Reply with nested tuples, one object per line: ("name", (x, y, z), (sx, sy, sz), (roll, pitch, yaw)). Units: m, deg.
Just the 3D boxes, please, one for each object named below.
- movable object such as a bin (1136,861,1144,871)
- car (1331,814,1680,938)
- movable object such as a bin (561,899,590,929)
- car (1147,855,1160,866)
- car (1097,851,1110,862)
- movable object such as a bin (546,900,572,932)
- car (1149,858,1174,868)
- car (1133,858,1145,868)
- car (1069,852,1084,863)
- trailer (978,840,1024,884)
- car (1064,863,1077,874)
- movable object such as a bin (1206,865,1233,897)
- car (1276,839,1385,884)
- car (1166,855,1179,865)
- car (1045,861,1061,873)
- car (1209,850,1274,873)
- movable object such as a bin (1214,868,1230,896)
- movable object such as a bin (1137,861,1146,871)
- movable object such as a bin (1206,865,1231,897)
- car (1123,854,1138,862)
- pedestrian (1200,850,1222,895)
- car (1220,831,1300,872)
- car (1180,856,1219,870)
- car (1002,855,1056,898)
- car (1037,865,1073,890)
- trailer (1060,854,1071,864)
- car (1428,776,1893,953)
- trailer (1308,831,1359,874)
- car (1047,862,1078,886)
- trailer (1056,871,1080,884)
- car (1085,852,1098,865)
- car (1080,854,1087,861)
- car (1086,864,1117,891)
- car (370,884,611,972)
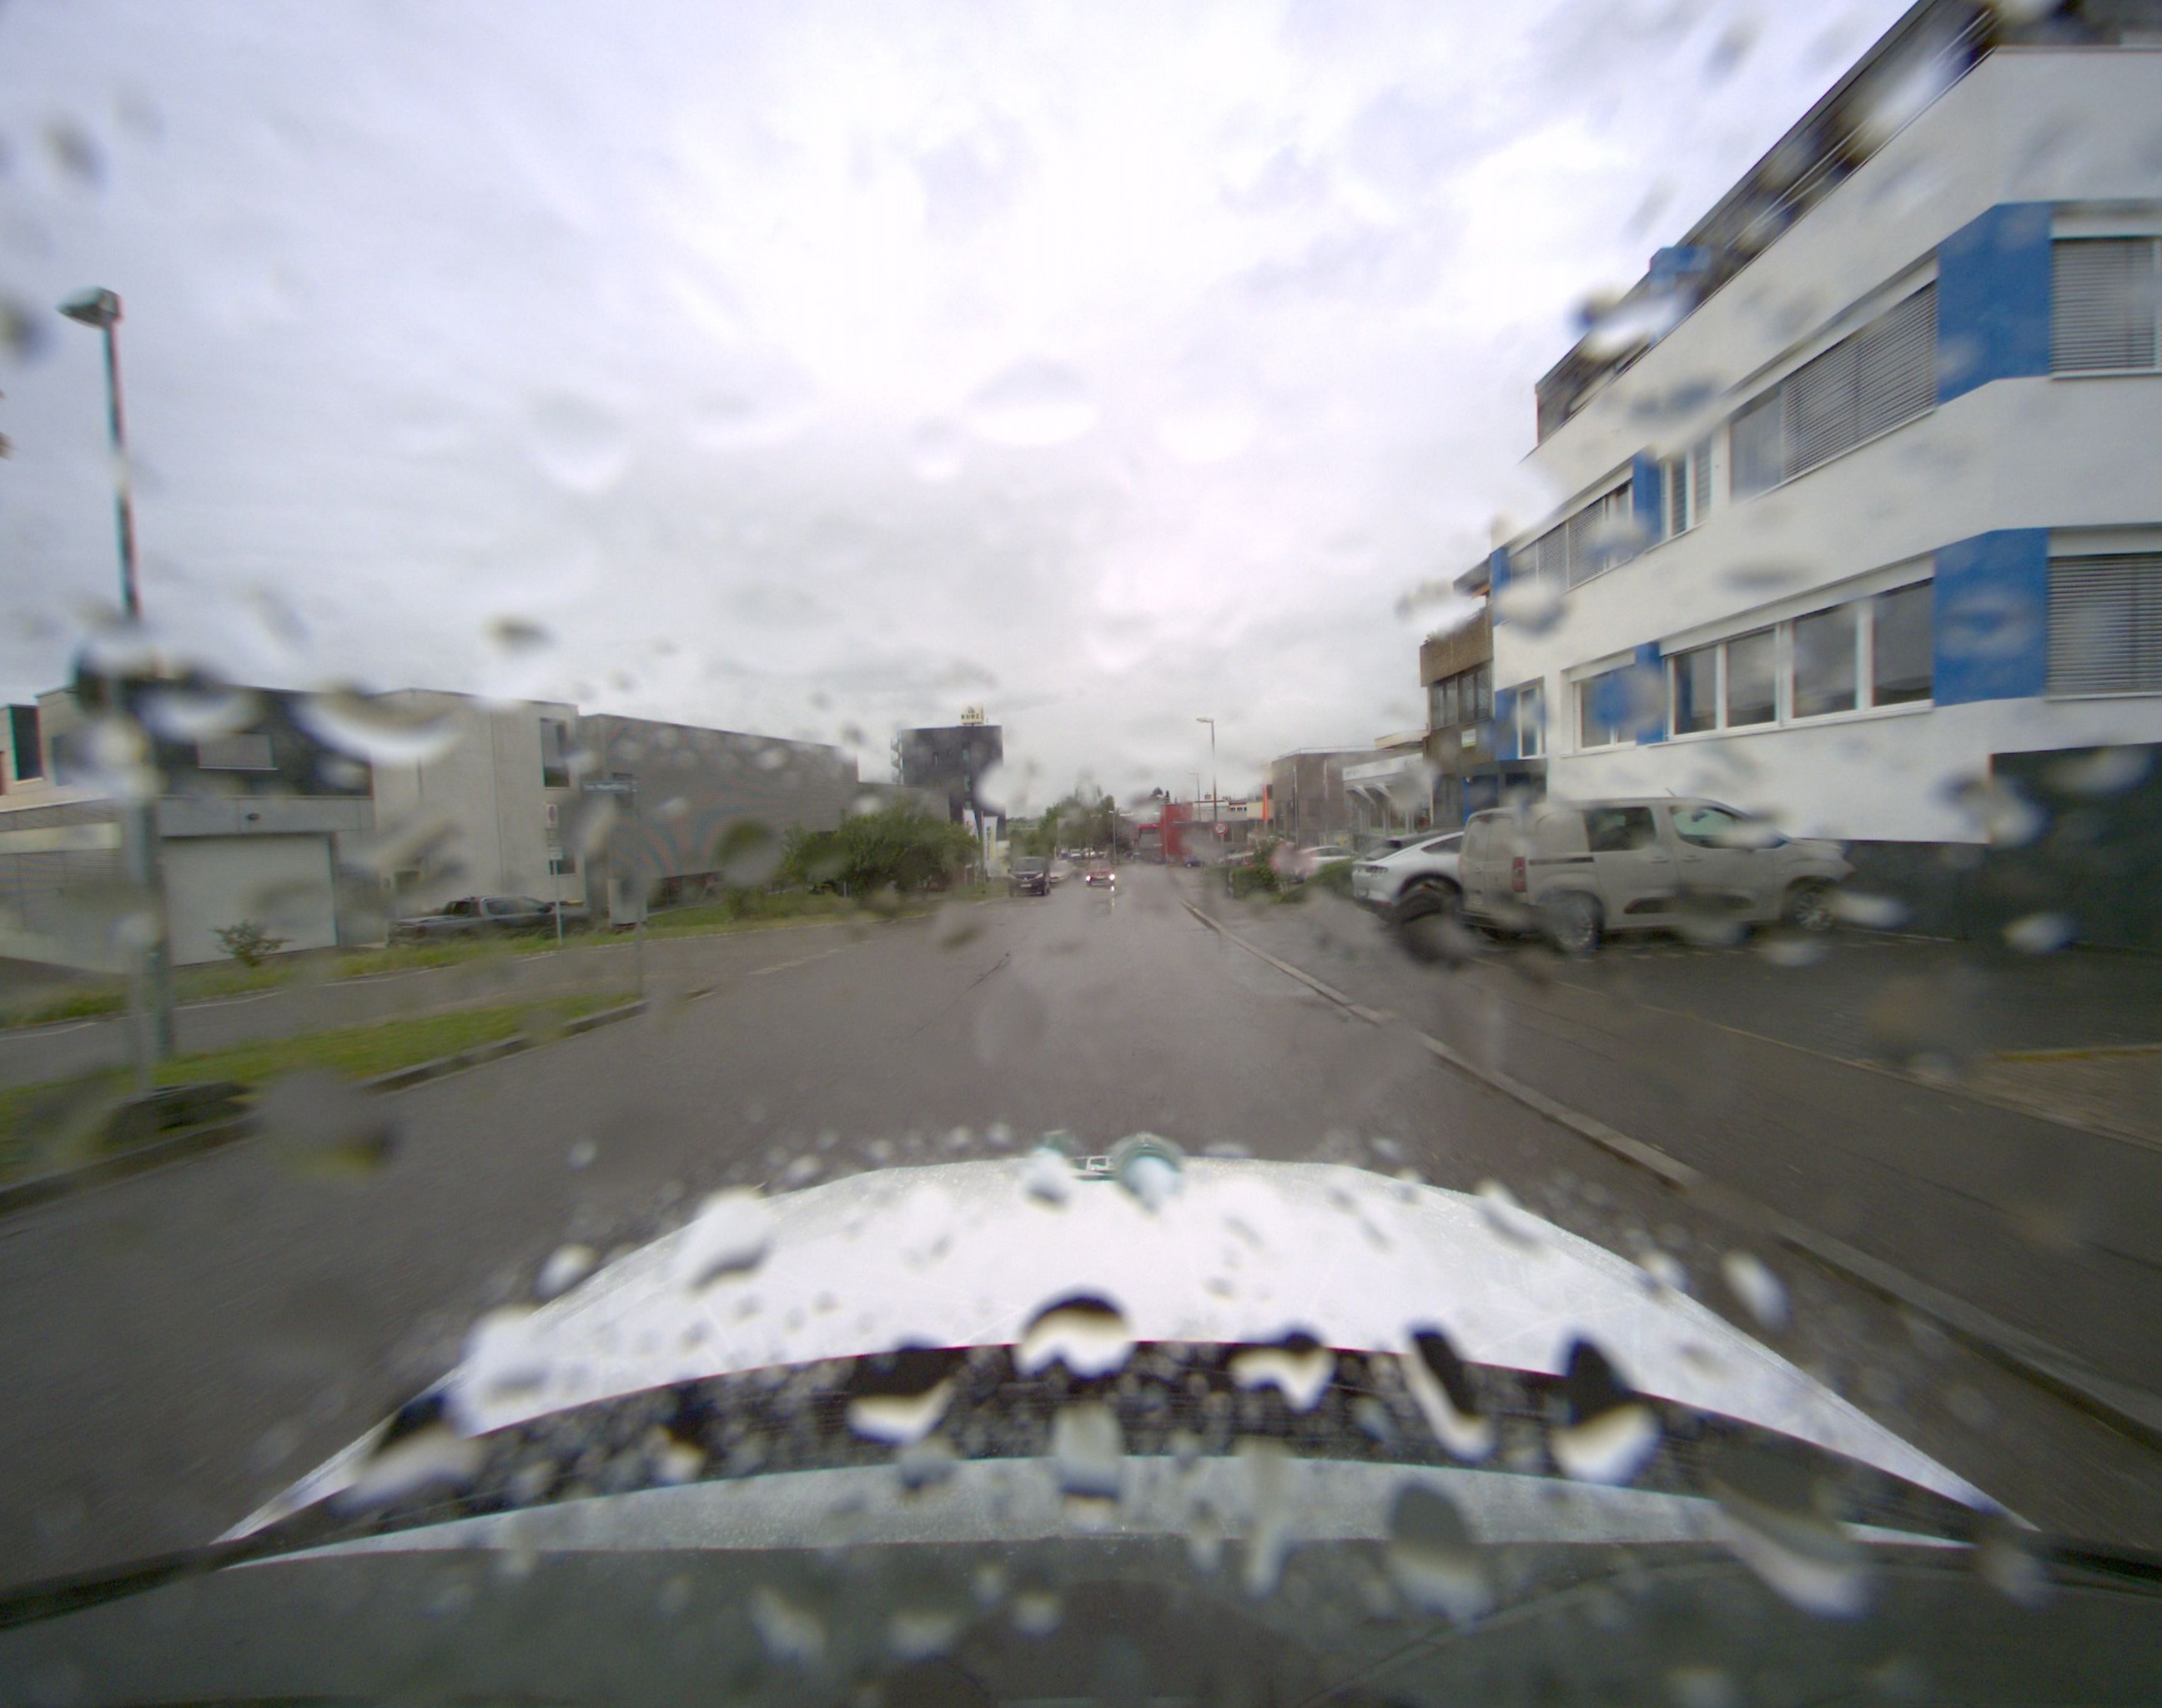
("movable object such as a bin", (6.681, 1.391, 92.060), (0.807, 1.090, 0.541), (-3, 0, -3))
("car", (6.752, 0.348, 13.400), (4.580, 1.538, 2.080), (-4, -1, 1))
("movable object such as a bin", (-19.731, 2.348, 31.764), (0.629, 1.096, 0.678), (-4, 0, 28))
("car", (11.709, 0.995, 131.855), (1.732, 1.653, 4.002), (-3, -1, 2))
("car", (4.544, 0.508, 167.329), (2.142, 2.014, 3.933), (-3, -1, -4))
("movable object such as a bin", (-19.978, 2.385, 31.182), (0.550, 1.166, 0.571), (-4, 0, 28))
("car", (11.221, 1.235, 113.343), (3.385, 1.163, 1.793), (-3, 0, 3))
("car", (9.287, 1.468, 131.222), (1.691, 1.475, 4.002), (-3, -1, 2))
("car", (-0.927, 0.767, 166.041), (2.267, 2.014, 3.981), (-3, -1, -13))
("trailer", (-8.113, 0.809, 82.391), (4.132, 4.203, 2.019), (-4, -1, 40))
("car", (-1.651, 2.359, 131.331), (1.950, 1.675, 4.469), (-3, -2, -1))
("movable object such as a bin", (4.643, 0.903, 27.298), (0.768, 1.030, 0.809), (-2, -1, 4))
("car", (10.905, 0.339, 35.859), (4.105, 1.574, 2.004), (-5, -1, 1))
("car", (14.699, 0.994, 130.931), (1.722, 1.422, 4.002), (-3, -1, 2))
("car", (-4.119, 1.944, 119.266), (1.701, 1.609, 3.985), (-4, 0, -10))
("car", (13.643, 0.611, 69.435), (5.073, 1.613, 1.926), (-4, 0, 1))
("movable object such as a bin", (5.011, 0.988, 28.889), (0.470, 0.967, 0.515), (-2, -1, 4))
("movable object such as a bin", (6.765, 1.375, 90.835), (0.804, 1.092, 0.708), (-3, 0, -3))
("movable object such as a bin", (4.728, 0.917, 28.031), (0.740, 1.066, 0.637), (-2, -1, 3))
("car", (9.336, 0.679, 153.378), (2.542, 1.352, 1.241), (-3, 0, -3))
("pedestrian", (5.283, 0.738, 33.100), (0.733, 1.767, 0.809), (-2, -1, 4))
("car", (13.161, -0.142, 60.167), (5.280, 2.013, 2.223), (-11, -2, 2))
("car", (12.587, 0.916, 86.369), (3.880, 1.383, 1.821), (-1, -1, 1))
("car", (-2.436, 1.047, 39.319), (1.907, 1.831, 4.852), (-2, -1, 4))
("car", (-1.648, 1.491, 53.947), (1.948, 1.461, 5.250), (-3, -1, 2))
("trailer", (-3.244, 0.998, 170.107), (1.850, 2.013, 3.992), (-3, 0, -5))
("car", (7.030, 0.129, 10.303), (4.326, 1.773, 2.089), (-3, -1, 0))
("trailer", (15.363, -0.107, 49.741), (1.879, 2.416, 4.313), (-3, 0, 4))
("car", (-1.320, 1.467, 60.322), (1.950, 1.577, 4.840), (-4, -1, 1))
("trailer", (-1.007, 1.858, 64.691), (1.674, 0.888, 3.898), (-3, -1, 1))
("car", (2.095, 0.844, 166.395), (2.190, 2.459, 3.991), (-3, -1, -6))
("car", (0.458, 0.813, 172.041), (1.288, 1.424, 2.542), (-3, -1, -4))
("car", (1.374, 1.505, 52.115), (1.740, 1.508, 3.938), (-5, -2, 3))
("car", (-18.087, 2.163, 25.388), (2.109, 1.921, 5.644), (-2, 2, 26))
